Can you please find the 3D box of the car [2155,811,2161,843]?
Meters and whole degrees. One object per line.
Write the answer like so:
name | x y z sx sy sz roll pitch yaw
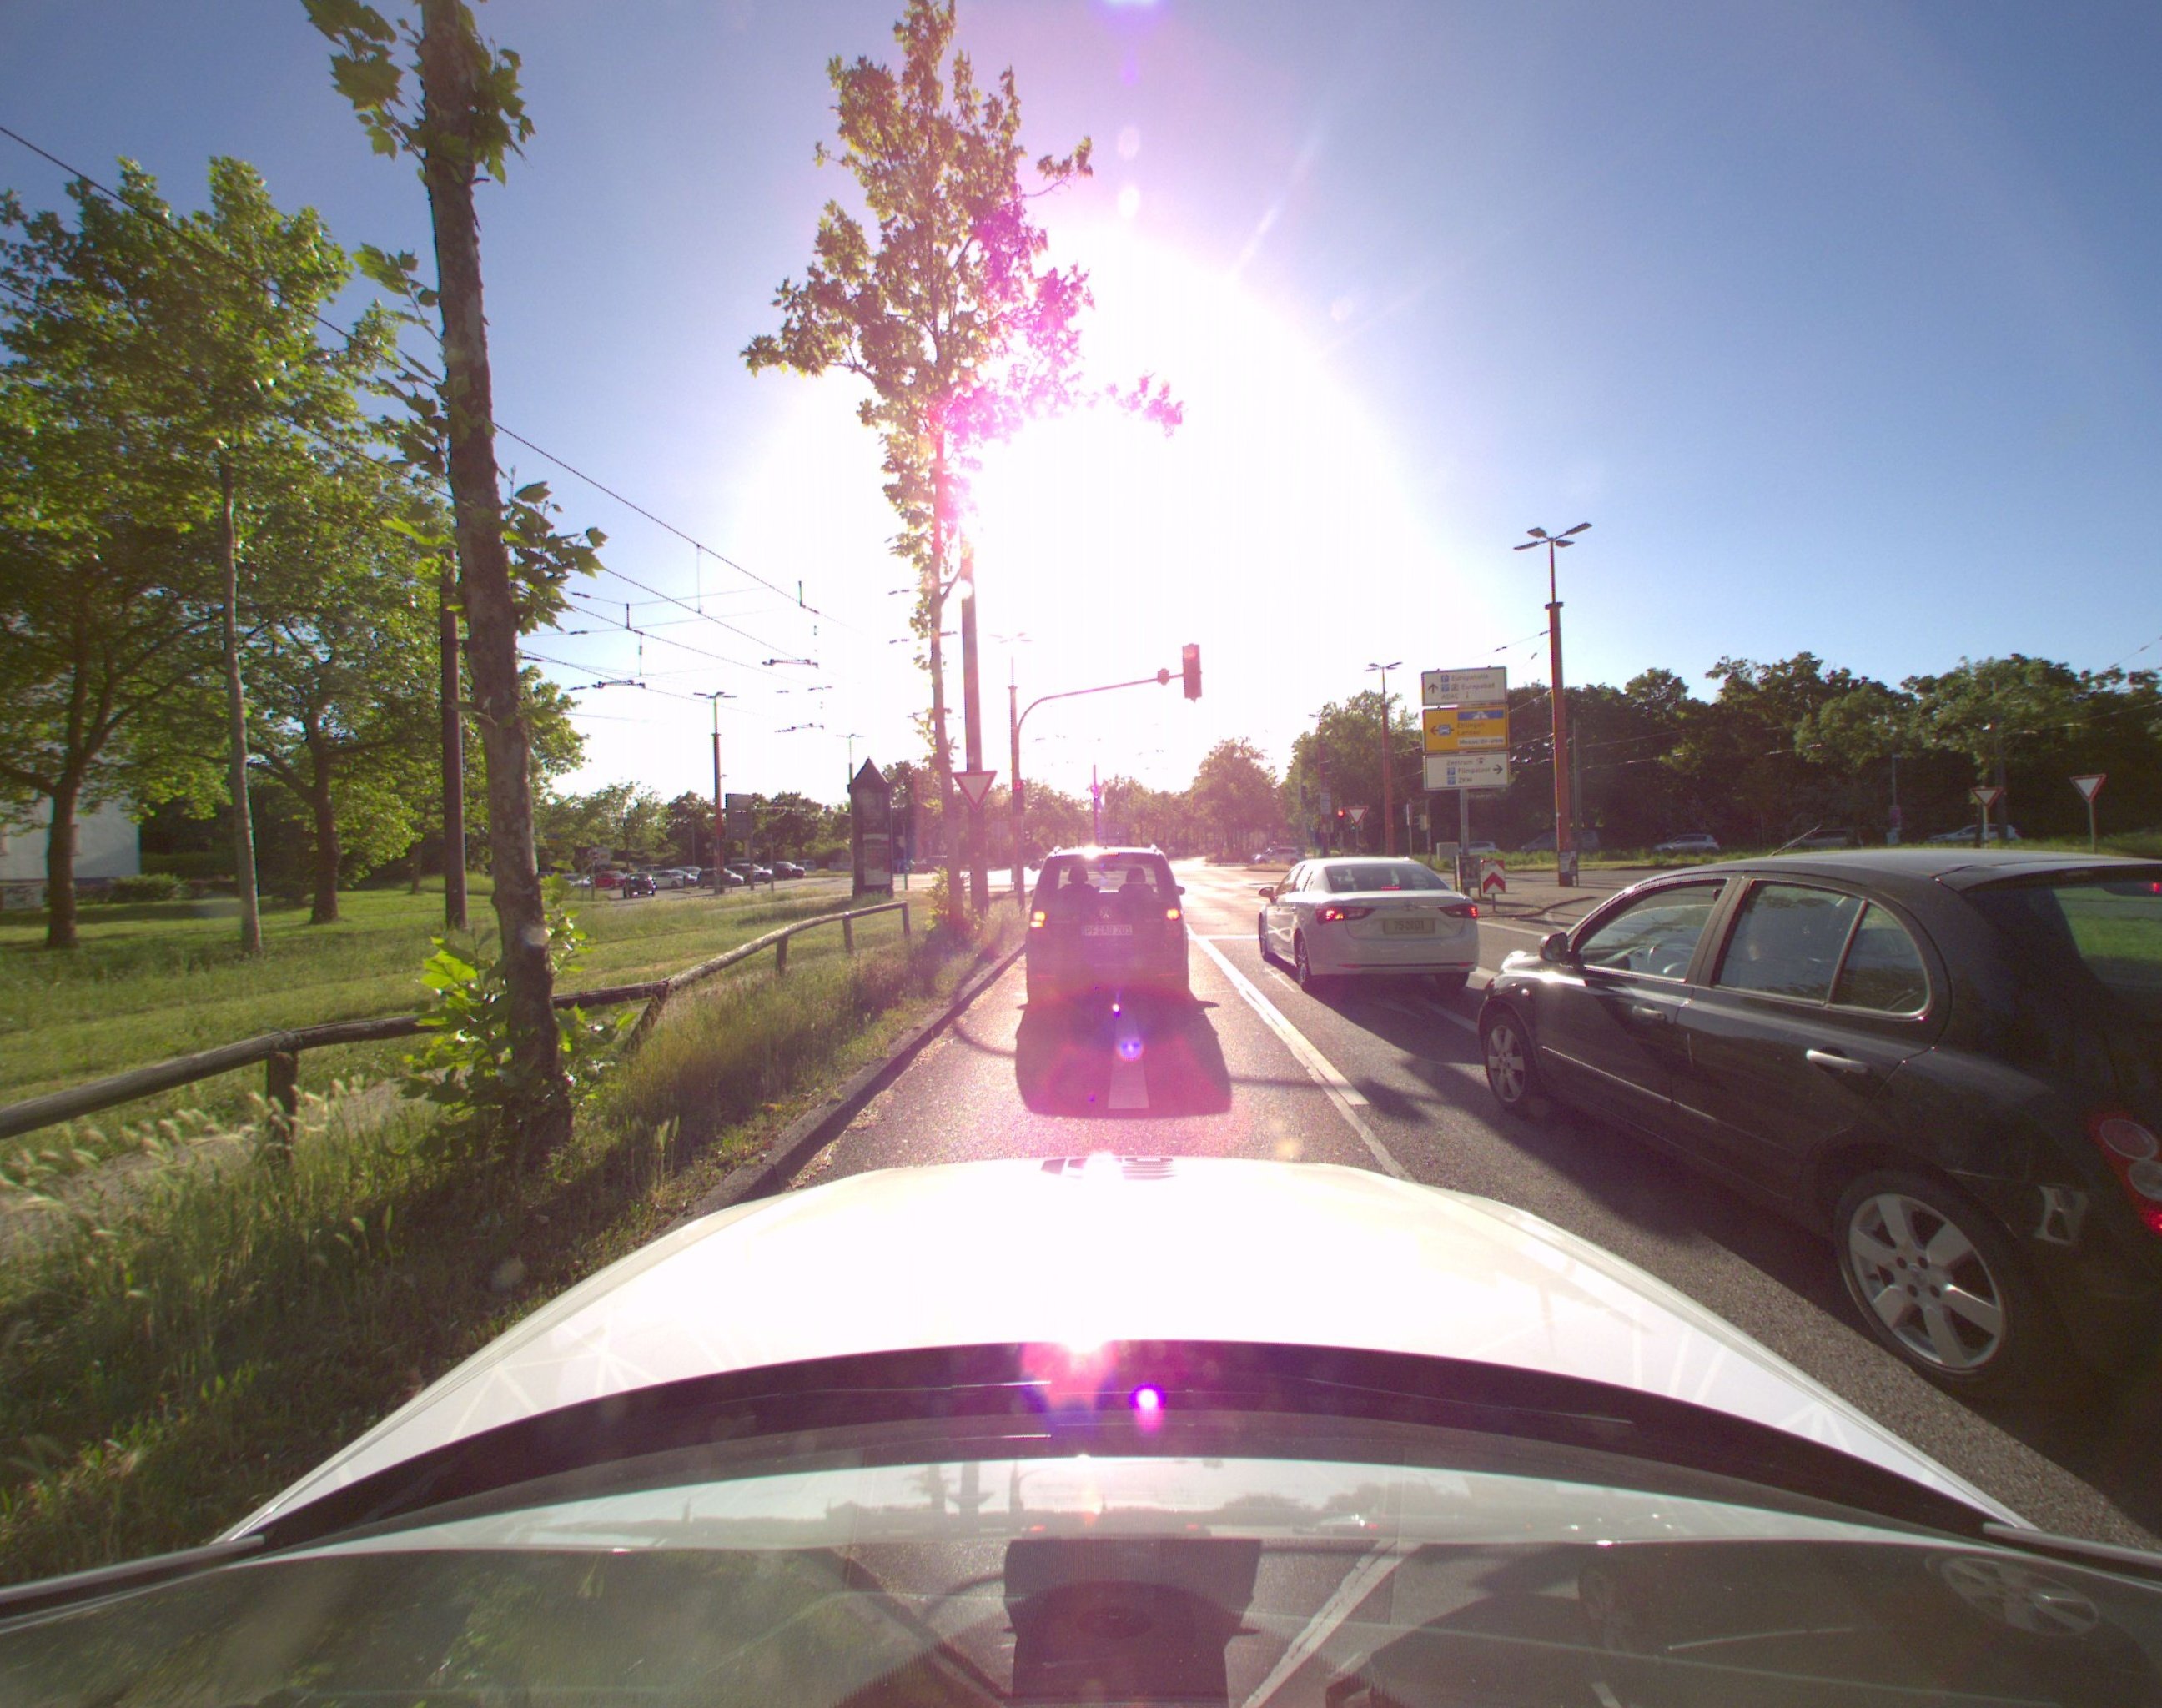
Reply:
car | 55.742 -1.413 39.437 3.987 1.596 2.012 -2 0 25

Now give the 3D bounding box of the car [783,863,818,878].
car | -32.124 1.921 93.308 3.608 1.655 1.690 0 -1 27

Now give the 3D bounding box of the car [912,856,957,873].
car | -14.350 1.020 79.742 4.139 1.644 1.770 0 -1 28

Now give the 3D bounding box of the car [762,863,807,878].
car | -26.531 1.480 72.851 3.948 1.330 1.709 -2 0 33

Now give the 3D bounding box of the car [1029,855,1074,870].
car | -2.776 0.790 77.438 3.927 1.441 1.696 0 -1 26

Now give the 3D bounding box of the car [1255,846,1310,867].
car | 15.774 0.172 63.717 3.783 1.523 1.706 -2 0 29

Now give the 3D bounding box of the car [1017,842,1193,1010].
car | 0.291 0.709 9.934 1.694 1.621 3.898 -1 0 1

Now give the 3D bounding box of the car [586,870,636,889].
car | -39.438 2.158 68.293 3.949 1.513 1.743 -2 0 27

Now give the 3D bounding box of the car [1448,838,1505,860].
car | 29.108 -0.350 59.974 3.700 1.473 1.610 -2 0 28

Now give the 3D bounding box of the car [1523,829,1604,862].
car | 32.328 -0.545 54.655 4.526 2.013 2.013 -2 0 30

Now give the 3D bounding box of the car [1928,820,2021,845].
car | 51.795 -1.217 47.273 3.403 1.368 1.298 0 -1 29

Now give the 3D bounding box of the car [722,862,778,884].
car | -26.552 1.542 65.398 3.950 1.644 2.012 -2 0 26

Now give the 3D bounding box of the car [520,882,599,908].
car | -40.475 3.169 63.223 4.810 1.731 2.001 -1 0 2

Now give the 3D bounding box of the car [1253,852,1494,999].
car | 3.322 0.710 10.146 1.713 1.438 4.202 -1 0 3

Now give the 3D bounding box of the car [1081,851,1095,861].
car | 1.226 0.304 140.109 1.904 1.635 4.010 0 0 9

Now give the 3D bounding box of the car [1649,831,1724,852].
car | 39.952 -0.814 53.849 3.792 1.264 1.613 0 -1 28

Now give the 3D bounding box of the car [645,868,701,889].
car | -32.356 1.953 64.572 4.135 1.612 1.880 -2 0 27

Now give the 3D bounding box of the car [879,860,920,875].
car | -19.227 1.402 86.227 4.082 1.511 1.834 0 -1 28

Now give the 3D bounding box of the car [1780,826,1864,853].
car | 43.620 -0.814 47.996 3.362 1.457 1.474 -2 0 28

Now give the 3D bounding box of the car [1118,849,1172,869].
car | 5.427 0.453 69.235 4.080 1.598 1.840 -2 0 29

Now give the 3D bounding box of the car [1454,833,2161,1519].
car | 3.227 0.696 3.569 1.647 1.500 3.617 -1 0 2

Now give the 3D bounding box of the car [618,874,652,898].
car | -28.525 2.006 52.146 1.808 1.390 2.824 -1 0 -27

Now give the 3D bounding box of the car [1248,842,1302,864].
car | 16.225 -0.084 68.140 4.081 1.644 1.863 -2 0 26
